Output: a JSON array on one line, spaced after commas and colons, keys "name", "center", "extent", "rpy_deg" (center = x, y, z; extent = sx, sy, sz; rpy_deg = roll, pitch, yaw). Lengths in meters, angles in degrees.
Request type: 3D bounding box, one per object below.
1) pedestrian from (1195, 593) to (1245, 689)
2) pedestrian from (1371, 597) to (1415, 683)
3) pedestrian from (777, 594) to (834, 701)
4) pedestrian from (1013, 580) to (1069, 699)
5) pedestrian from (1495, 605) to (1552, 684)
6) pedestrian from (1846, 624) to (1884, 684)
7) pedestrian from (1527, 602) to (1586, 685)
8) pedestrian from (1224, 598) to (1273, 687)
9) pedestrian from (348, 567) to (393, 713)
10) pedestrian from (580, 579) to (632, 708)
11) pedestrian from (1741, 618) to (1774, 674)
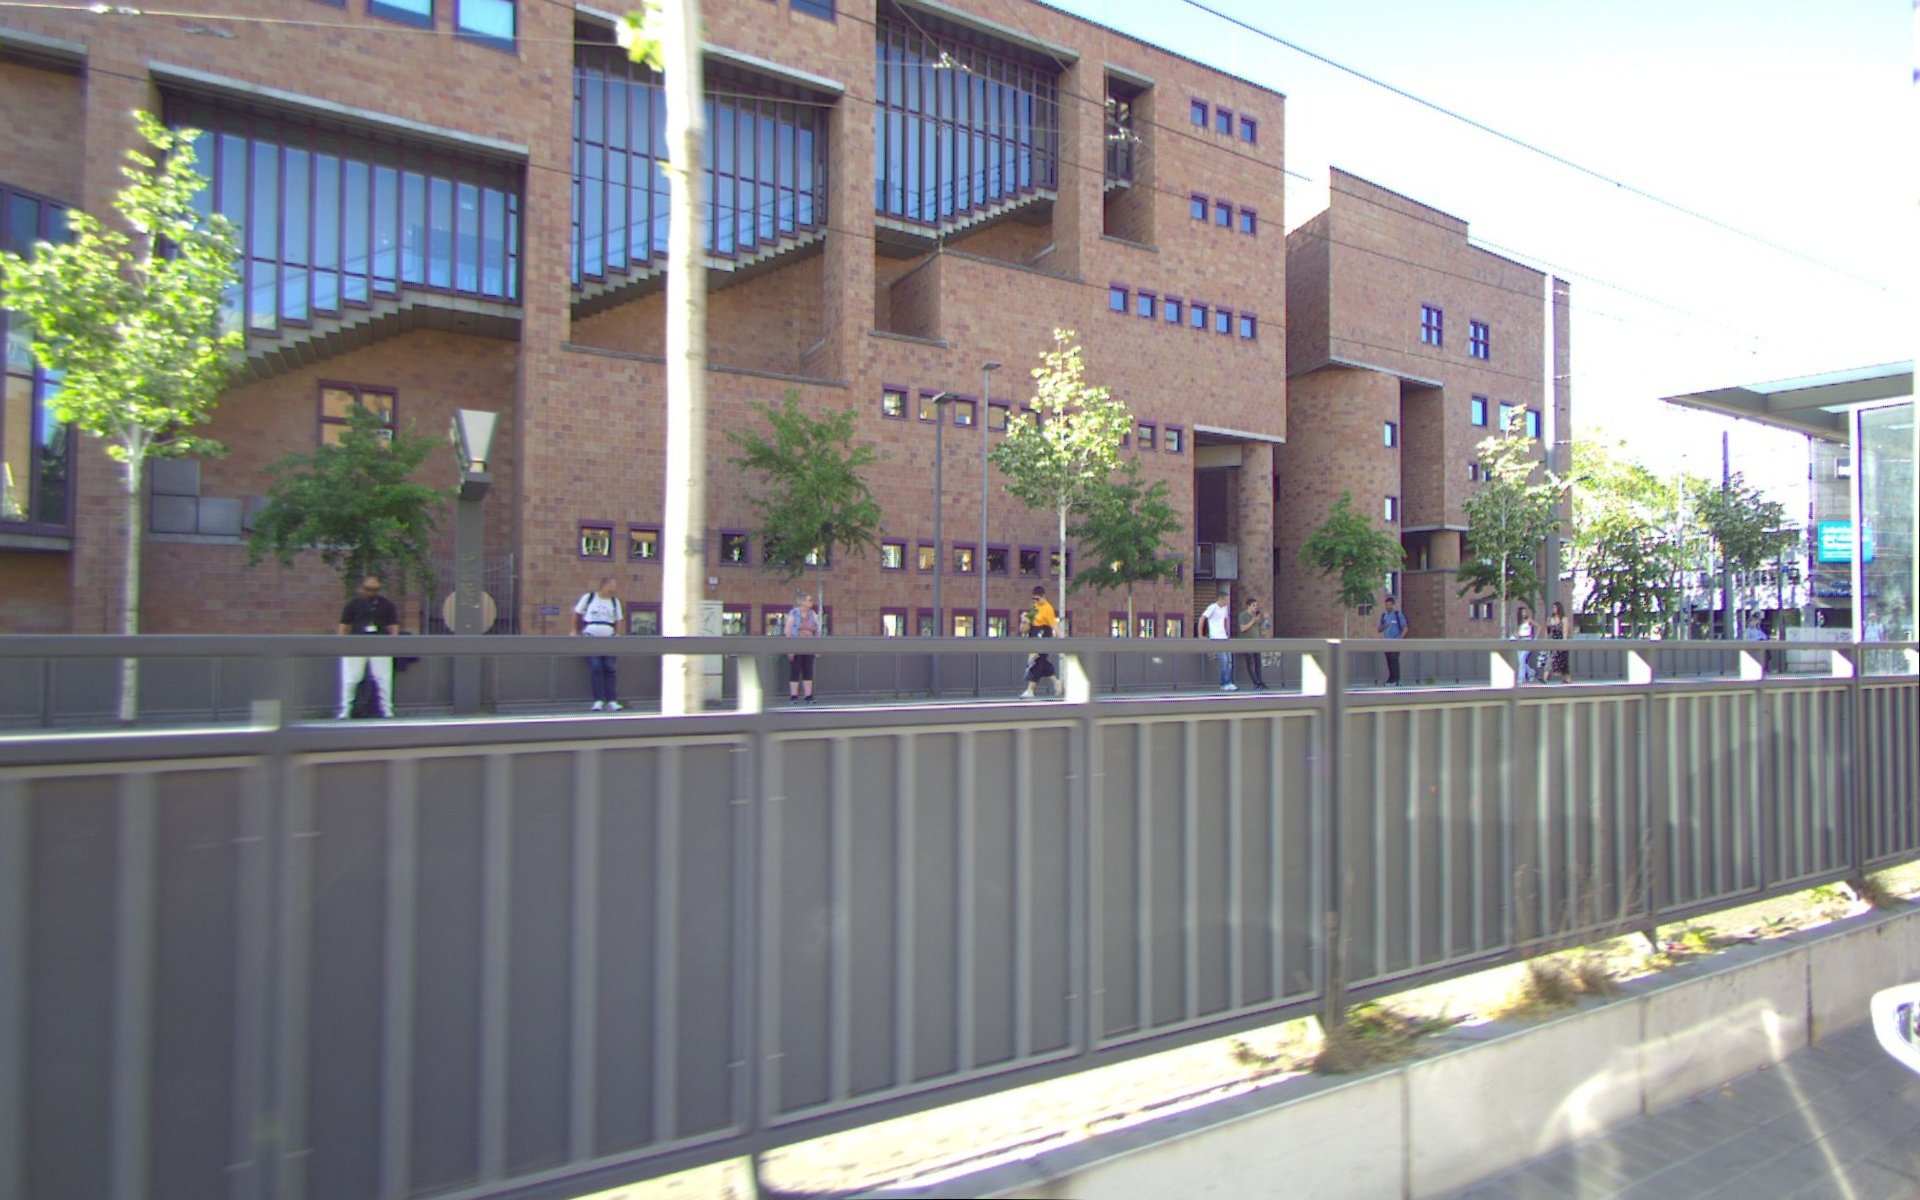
[{"name": "pedestrian", "center": [4.797, 0.743, 18.553], "extent": [0.608, 1.737, 0.620], "rpy_deg": [1, -1, -28]}, {"name": "pedestrian", "center": [8.990, 0.819, 20.854], "extent": [0.608, 1.761, 0.579], "rpy_deg": [1, -1, -29]}, {"name": "pedestrian", "center": [-2.199, 0.663, 14.320], "extent": [0.634, 1.479, 0.537], "rpy_deg": [1, 0, -29]}, {"name": "pedestrian", "center": [1.194, 0.569, 14.880], "extent": [0.534, 1.718, 0.637], "rpy_deg": [1, 0, -28]}, {"name": "pedestrian", "center": [12.008, 0.933, 21.409], "extent": [0.934, 1.629, 0.637], "rpy_deg": [1, 0, -29]}, {"name": "pedestrian", "center": [28.082, 1.666, 31.162], "extent": [0.886, 1.841, 0.611], "rpy_deg": [1, -1, -29]}, {"name": "pedestrian", "center": [12.386, 0.895, 20.864], "extent": [0.934, 1.665, 0.637], "rpy_deg": [1, 0, -29]}, {"name": "pedestrian", "center": [5.443, 0.796, 18.954], "extent": [0.608, 1.633, 0.620], "rpy_deg": [1, -1, -28]}, {"name": "pedestrian", "center": [-6.913, 0.460, 11.786], "extent": [0.411, 1.670, 0.376], "rpy_deg": [1, 0, -29]}, {"name": "pedestrian", "center": [-4.578, 0.554, 12.990], "extent": [0.546, 1.643, 0.376], "rpy_deg": [1, 0, -29]}, {"name": "pedestrian", "center": [23.782, 1.371, 29.957], "extent": [0.608, 1.630, 0.561], "rpy_deg": [1, -1, -29]}]
